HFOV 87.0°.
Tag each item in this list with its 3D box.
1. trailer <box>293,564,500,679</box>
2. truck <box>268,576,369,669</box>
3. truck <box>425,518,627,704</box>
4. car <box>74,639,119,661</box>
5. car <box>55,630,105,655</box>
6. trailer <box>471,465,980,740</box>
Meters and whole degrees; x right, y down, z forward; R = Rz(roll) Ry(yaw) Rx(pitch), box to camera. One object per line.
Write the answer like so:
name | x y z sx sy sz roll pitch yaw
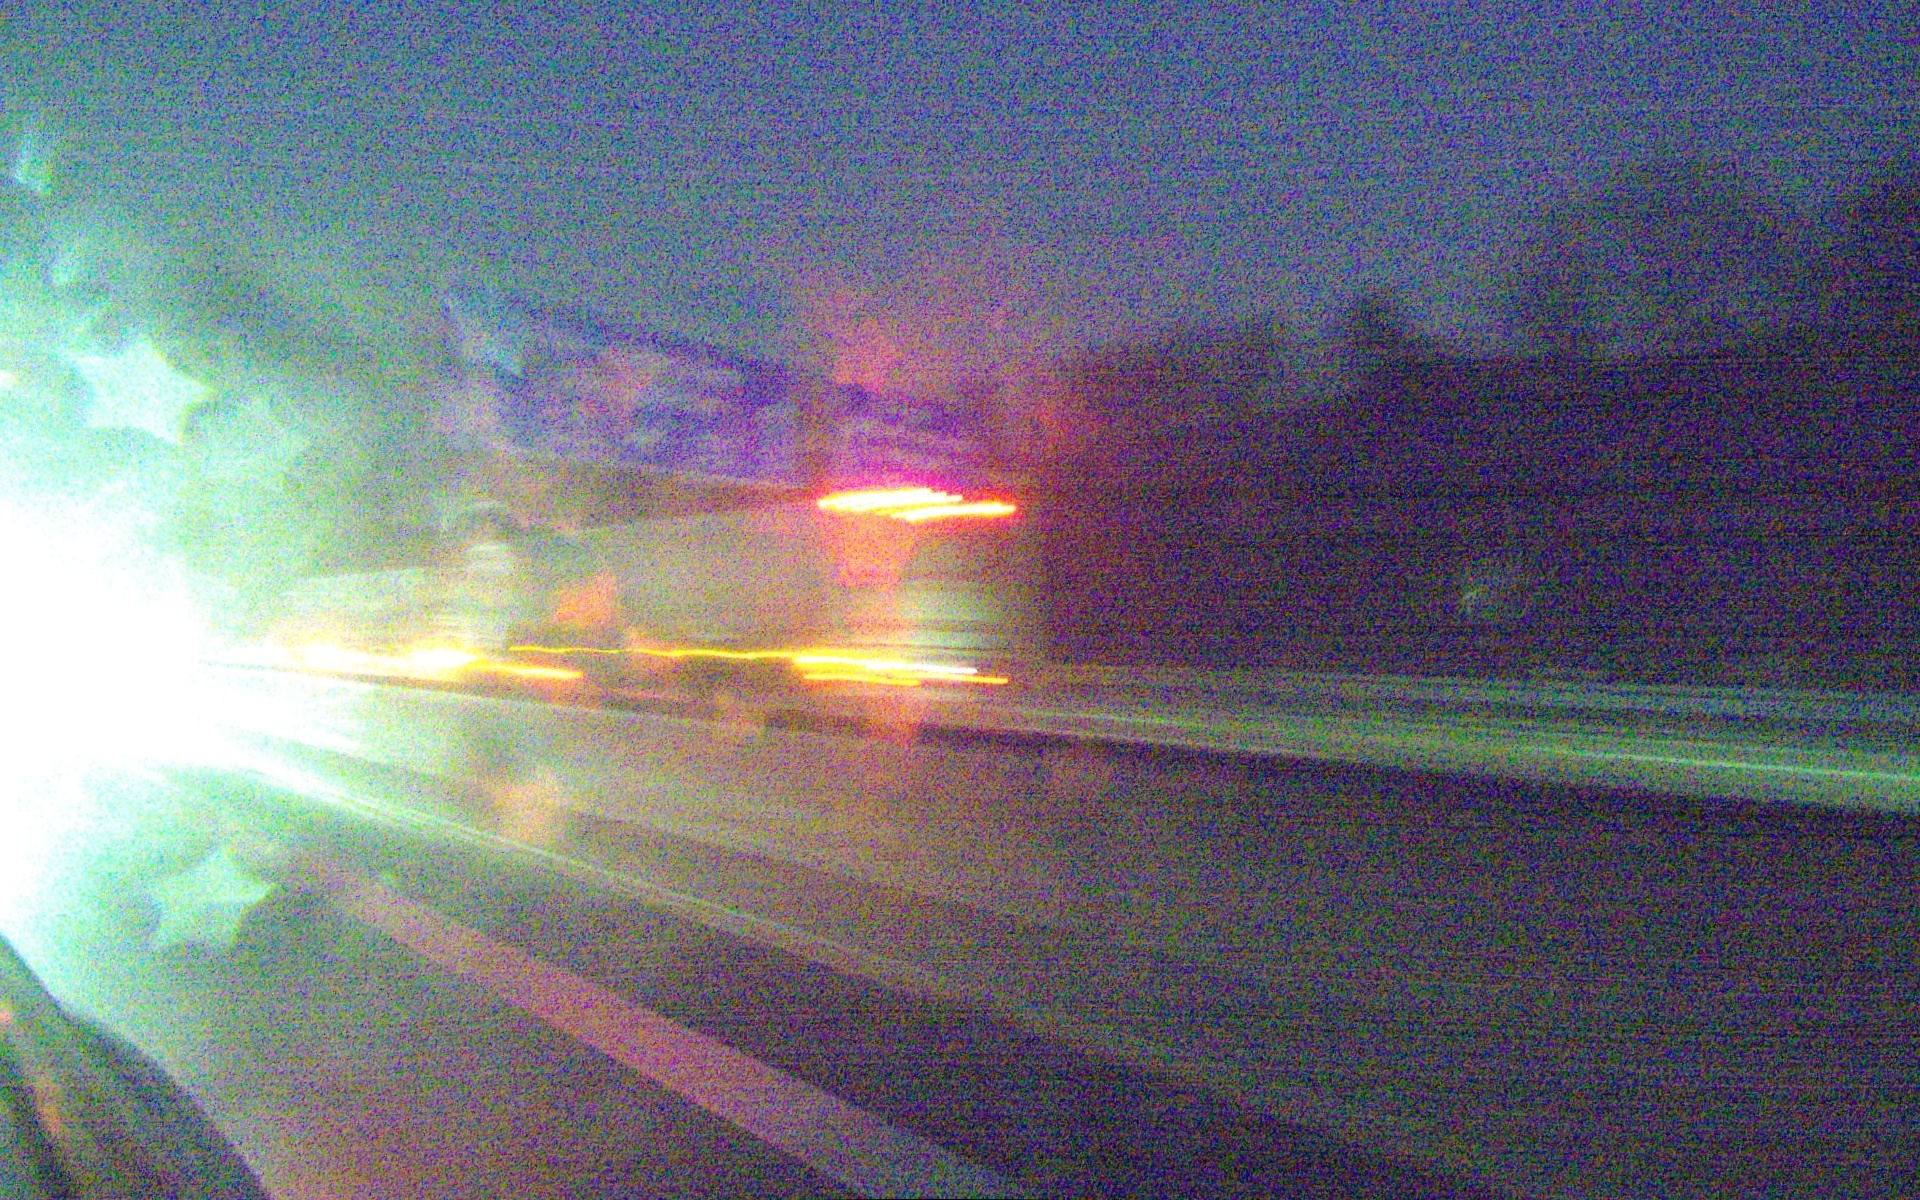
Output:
trailer | -24.609 0.921 43.452 15.636 4.253 2.662 -1 -1 41
truck | -31.348 1.080 49.395 5.732 4.253 2.662 -1 -1 41
truck | -11.609 0.295 26.851 5.731 4.414 2.663 -1 -1 41
car | -73.299 4.202 85.868 4.954 1.787 1.974 -1 -2 39
car | -66.214 3.133 76.146 4.954 1.787 1.974 -1 -2 39
trailer | -6.050 0.151 22.040 14.622 4.411 2.663 -1 -1 41
